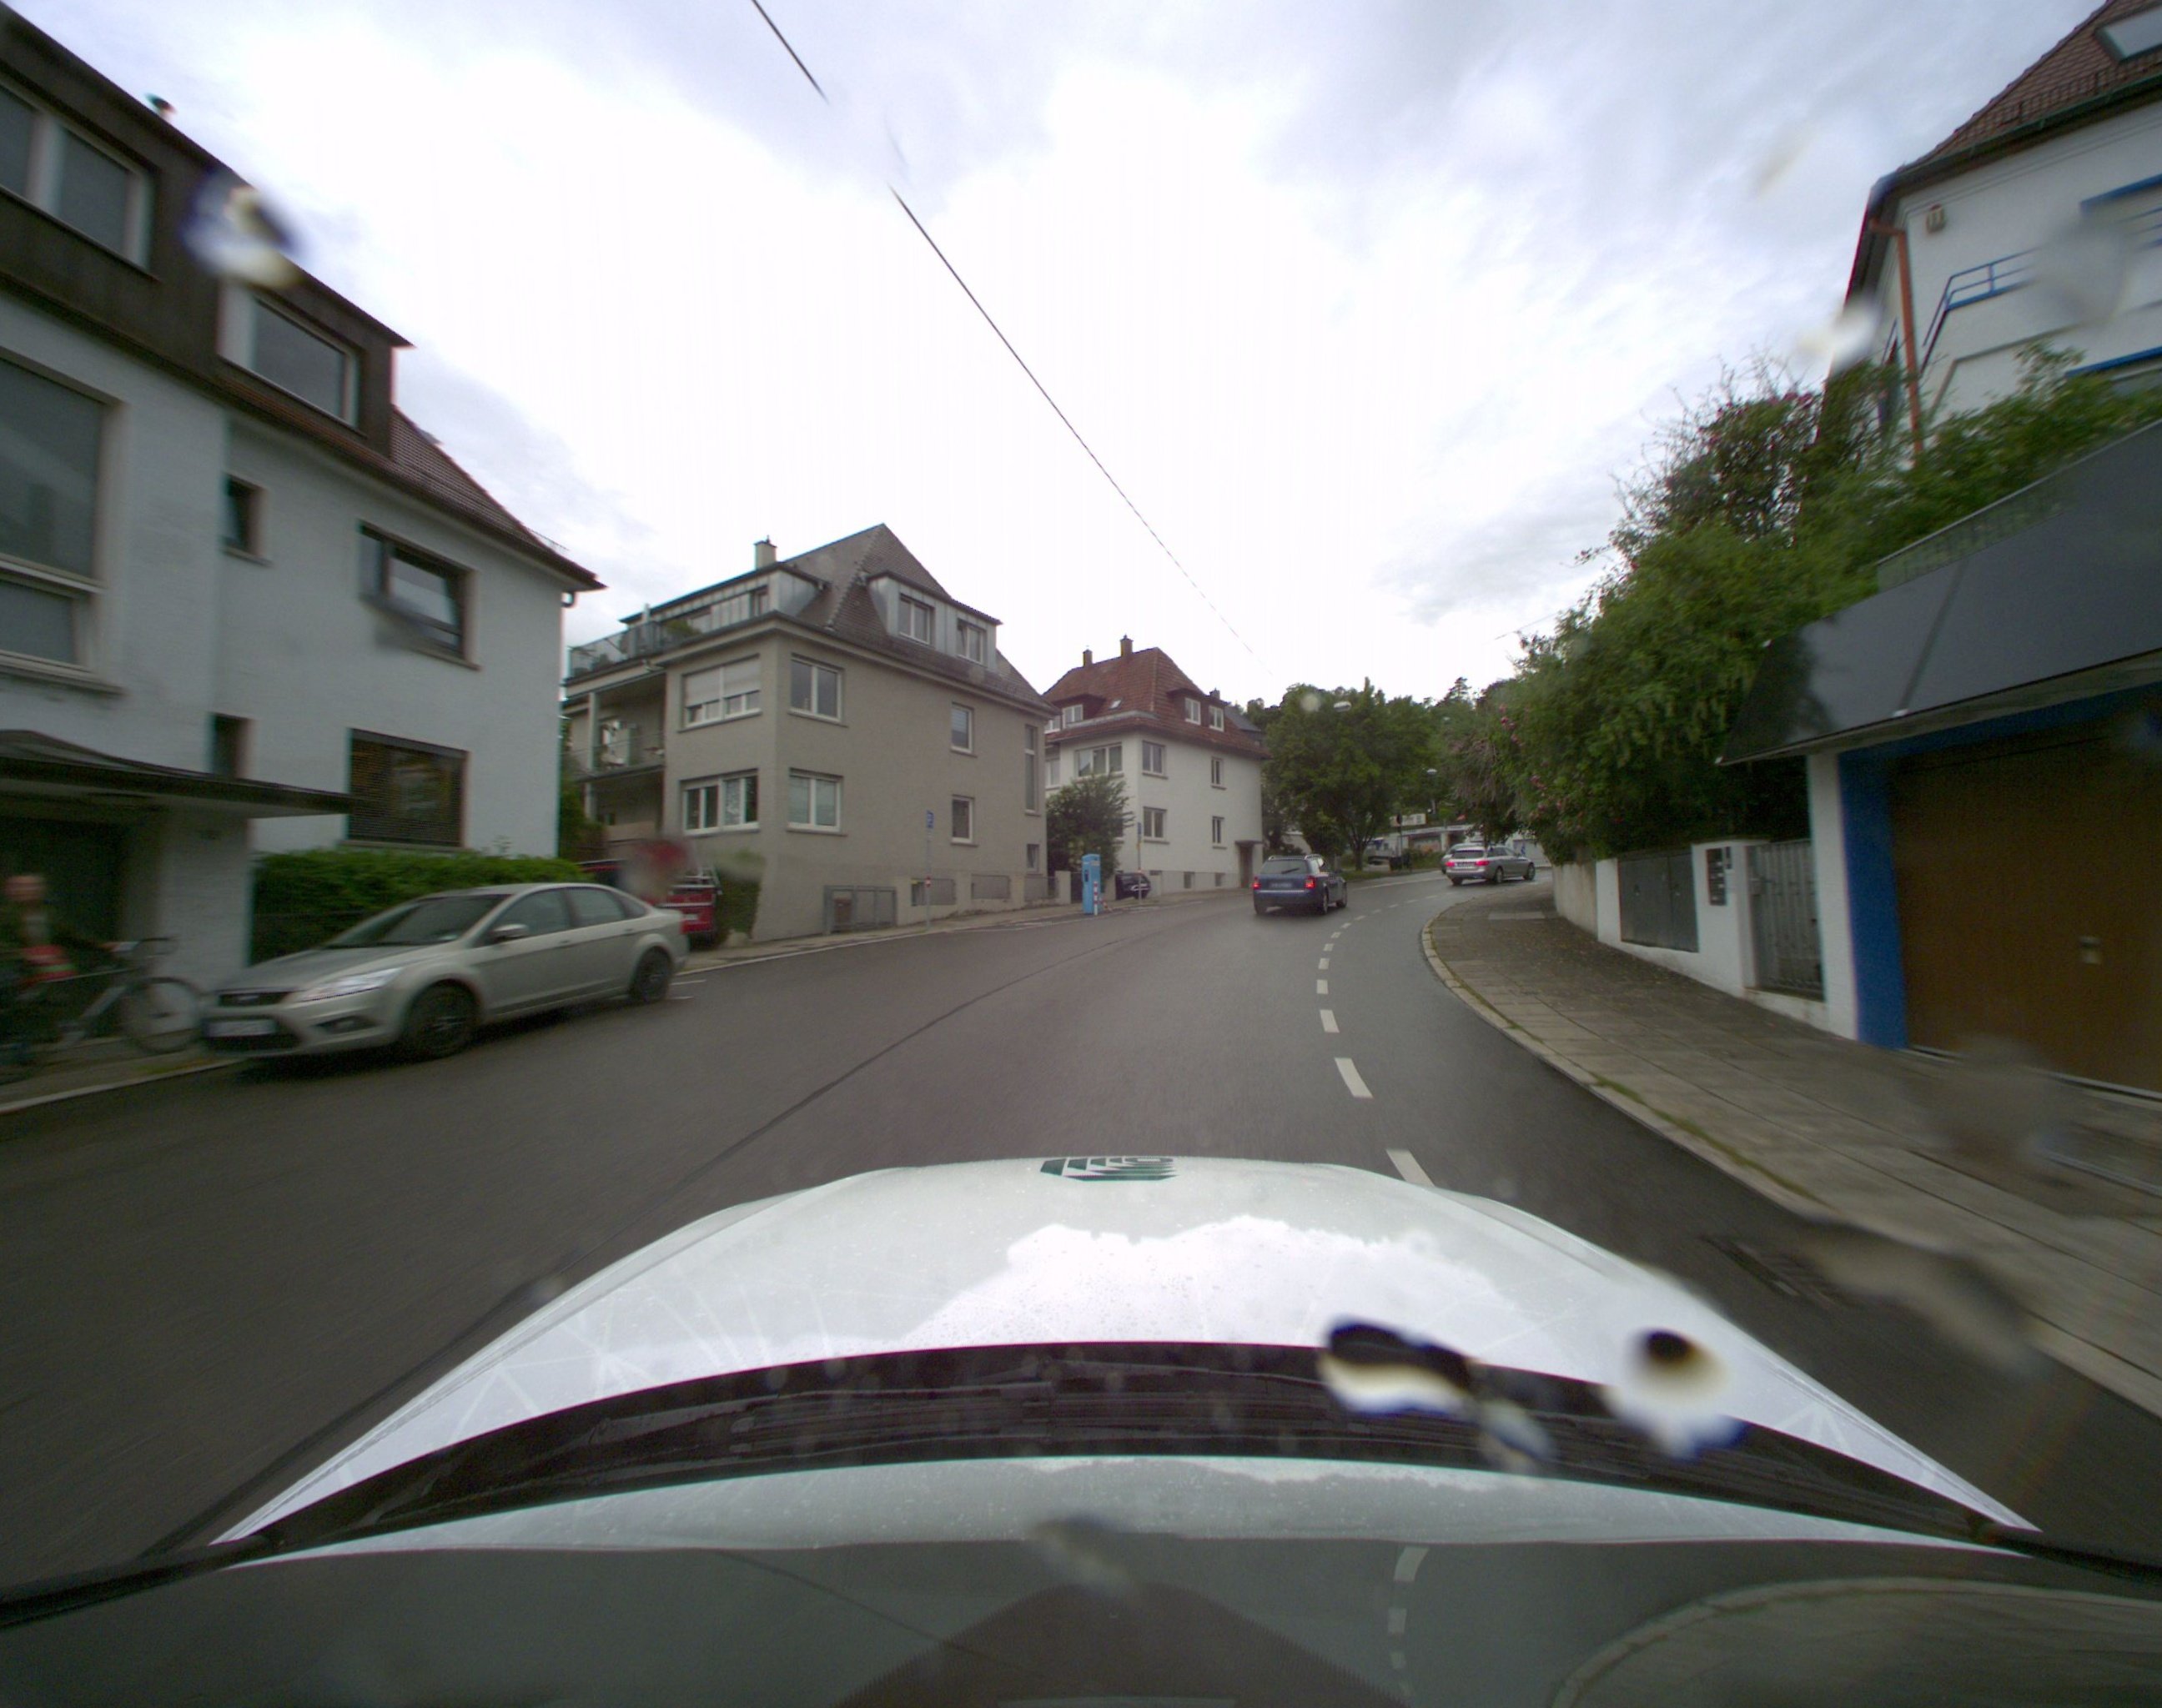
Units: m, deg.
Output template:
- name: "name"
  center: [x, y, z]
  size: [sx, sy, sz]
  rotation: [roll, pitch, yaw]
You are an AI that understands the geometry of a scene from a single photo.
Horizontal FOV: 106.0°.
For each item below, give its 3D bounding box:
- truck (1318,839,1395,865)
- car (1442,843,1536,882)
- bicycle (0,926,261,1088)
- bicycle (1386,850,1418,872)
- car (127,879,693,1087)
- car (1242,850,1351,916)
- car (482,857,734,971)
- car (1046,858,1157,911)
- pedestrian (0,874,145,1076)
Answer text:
- name: "truck"
  center: [25.004, -0.166, 74.132]
  size: [2.322, 2.269, 6.743]
  rotation: [-1, 0, -30]
- name: "car"
  center: [15.825, 0.312, 31.544]
  size: [4.021, 1.360, 1.796]
  rotation: [-1, 0, -40]
- name: "bicycle"
  center: [-8.328, 1.238, 7.007]
  size: [0.453, 1.067, 1.924]
  rotation: [-1, 0, 6]
- name: "bicycle"
  center: [18.298, 0.384, 46.358]
  size: [1.967, 1.085, 0.418]
  rotation: [-5, 1, -26]
- name: "car"
  center: [-6.141, 1.057, 8.276]
  size: [1.825, 1.425, 4.240]
  rotation: [-2, 0, 9]
- name: "car"
  center: [5.649, 0.689, 20.999]
  size: [1.794, 1.439, 4.106]
  rotation: [-2, 0, 28]
- name: "car"
  center: [-9.391, 1.169, 16.294]
  size: [3.958, 1.823, 2.008]
  rotation: [-6, -1, 15]
- name: "car"
  center: [0.812, 1.298, 34.293]
  size: [4.199, 1.623, 2.012]
  rotation: [-12, -7, 41]
- name: "pedestrian"
  center: [-8.804, 0.978, 6.953]
  size: [0.490, 1.577, 0.949]
  rotation: [-1, 0, 5]
